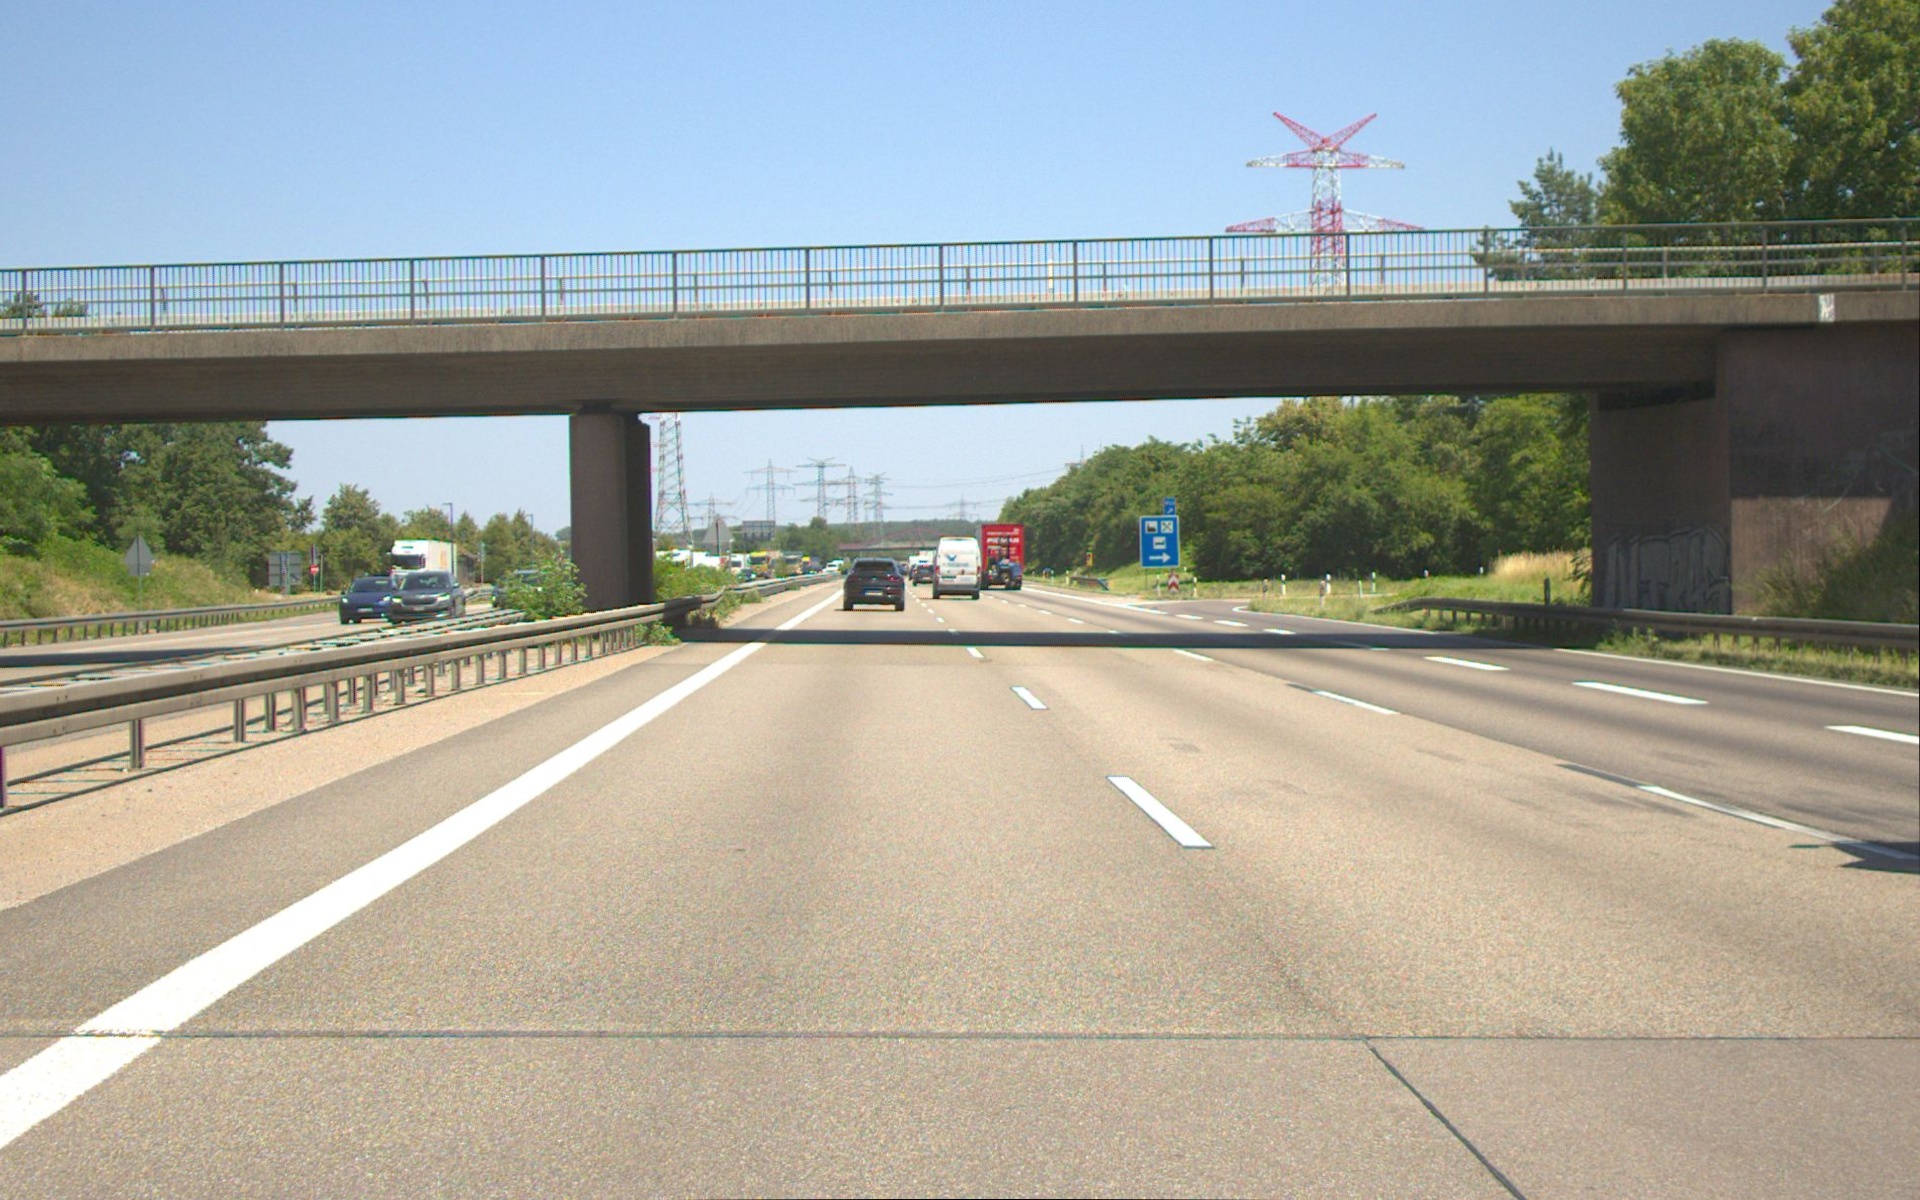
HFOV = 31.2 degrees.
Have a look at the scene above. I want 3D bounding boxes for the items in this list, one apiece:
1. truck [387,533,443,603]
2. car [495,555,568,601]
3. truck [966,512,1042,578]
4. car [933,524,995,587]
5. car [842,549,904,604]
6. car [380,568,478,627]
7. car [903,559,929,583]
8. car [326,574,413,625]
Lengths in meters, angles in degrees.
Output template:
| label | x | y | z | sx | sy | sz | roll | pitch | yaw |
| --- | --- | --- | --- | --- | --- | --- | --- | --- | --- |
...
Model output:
| label | x | y | z | sx | sy | sz | roll | pitch | yaw |
| --- | --- | --- | --- | --- | --- | --- | --- | --- | --- |
| truck | -39.677 | -2.356 | 250.656 | 3.070 | 4.811 | 7.717 | -3 | 1 | -4 |
| car | -16.468 | -0.858 | 132.263 | 2.227 | 1.605 | 5.060 | -3 | 1 | -1 |
| truck | 2.667 | -3.487 | 216.418 | 4.331 | 3.928 | 16.078 | 1 | 1 | -1 |
| car | 0.150 | -2.021 | 155.974 | 2.621 | 2.749 | 6.097 | 1 | 1 | -1 |
| car | -2.863 | -0.774 | 112.916 | 1.993 | 1.744 | 4.000 | 1 | 1 | -1 |
| car | -16.010 | -0.085 | 103.925 | 2.227 | 1.605 | 5.060 | -3 | 1 | -1 |
| car | -3.134 | -2.081 | 243.579 | 1.747 | 1.628 | 4.004 | 1 | 1 | -1 |
| car | -20.839 | -0.031 | 121.524 | 2.227 | 1.605 | 5.060 | -3 | 1 | -1 |
